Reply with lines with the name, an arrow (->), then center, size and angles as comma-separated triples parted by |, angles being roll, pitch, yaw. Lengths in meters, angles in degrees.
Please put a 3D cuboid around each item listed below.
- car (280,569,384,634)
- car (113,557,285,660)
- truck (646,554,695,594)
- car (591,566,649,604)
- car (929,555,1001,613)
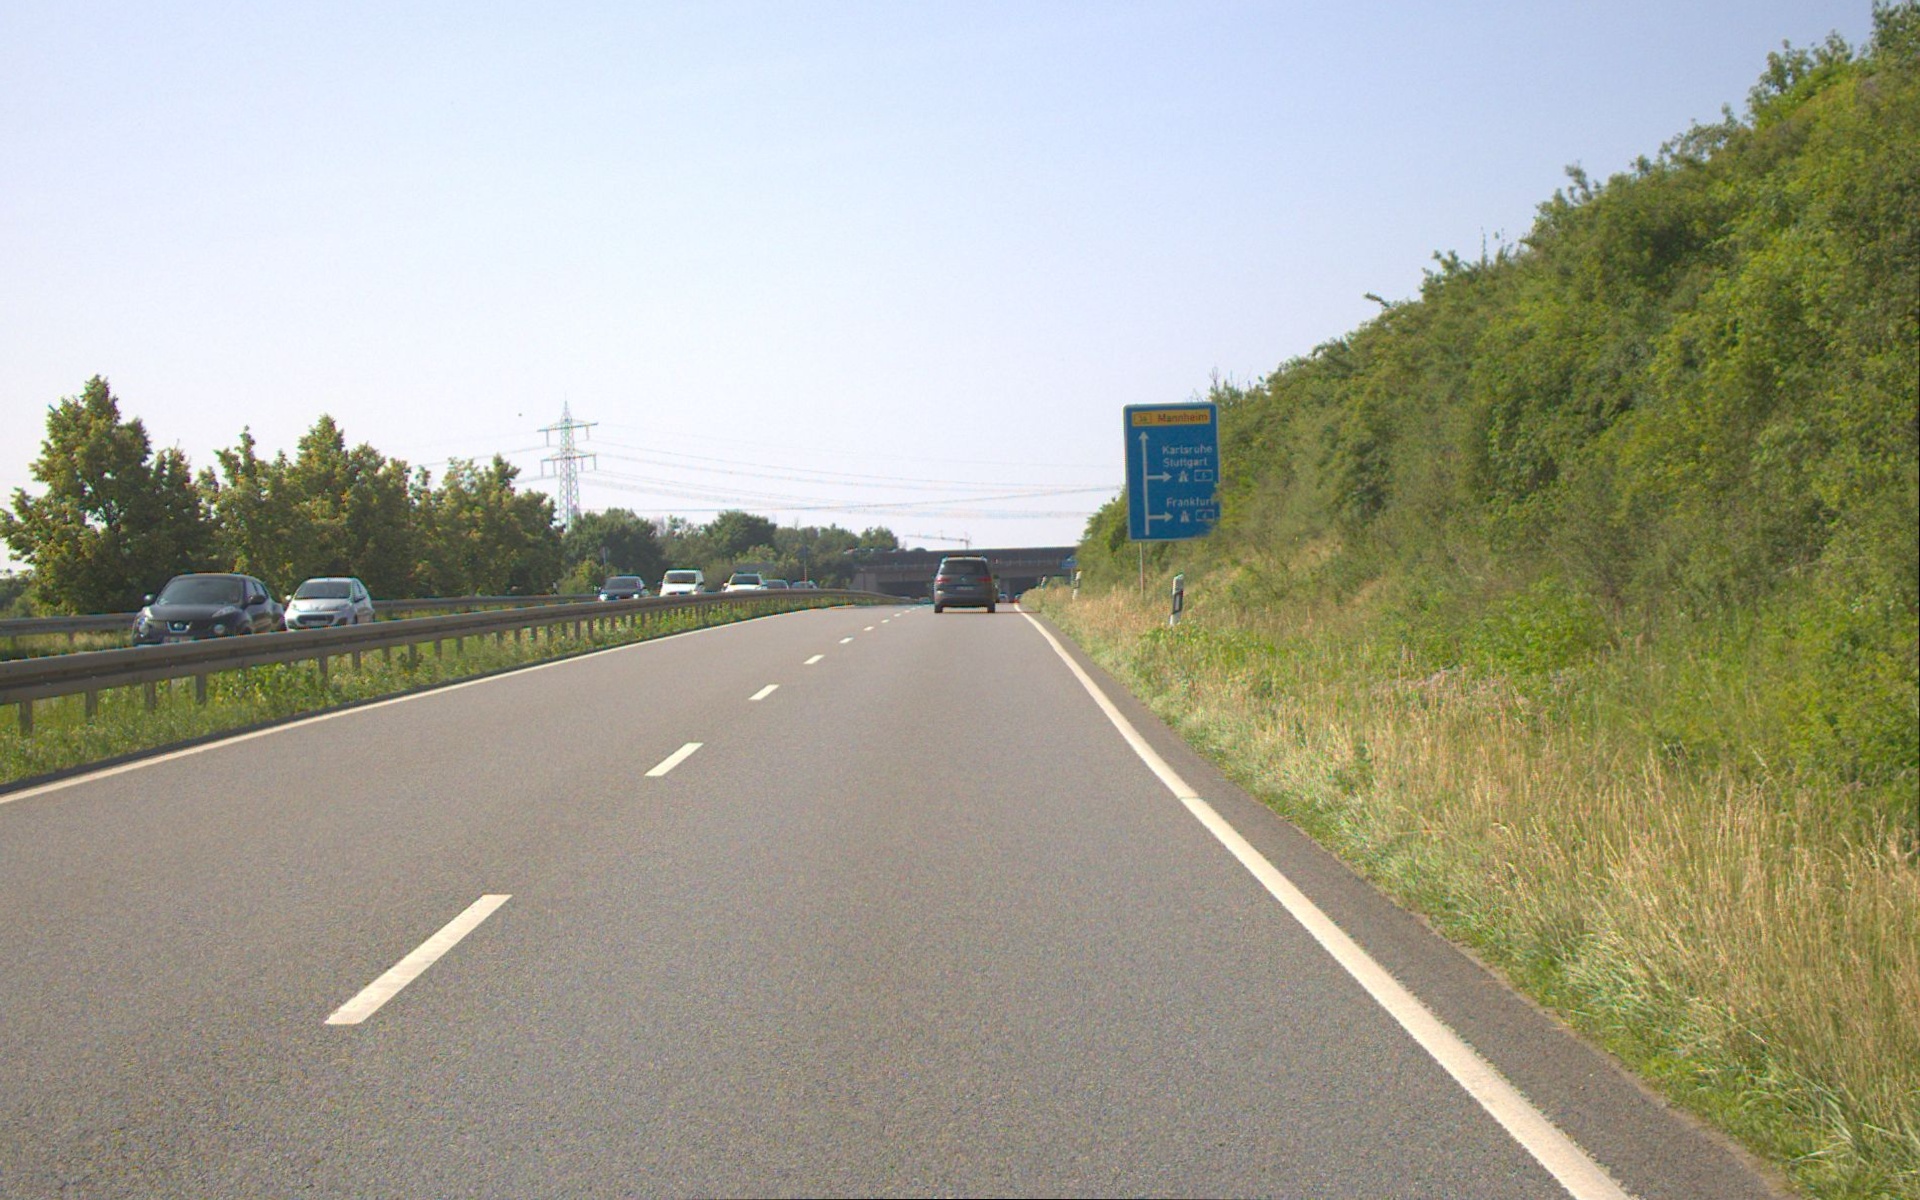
car -> -14.661, 0.013, 80.408 | 1.690, 1.432, 3.940 | -1, 1, 0
car -> -12.166, 0.103, 55.205 | 1.690, 1.536, 4.243 | -1, 1, 2
truck -> -14.041, -1.286, 166.991 | 1.922, 1.834, 5.292 | 0, 1, 0
car -> -13.760, -0.611, 139.382 | 1.839, 1.467, 4.459 | -1, 1, 0
car -> 0.163, -0.453, 100.928 | 1.850, 1.639, 3.999 | -1, 0, 4
